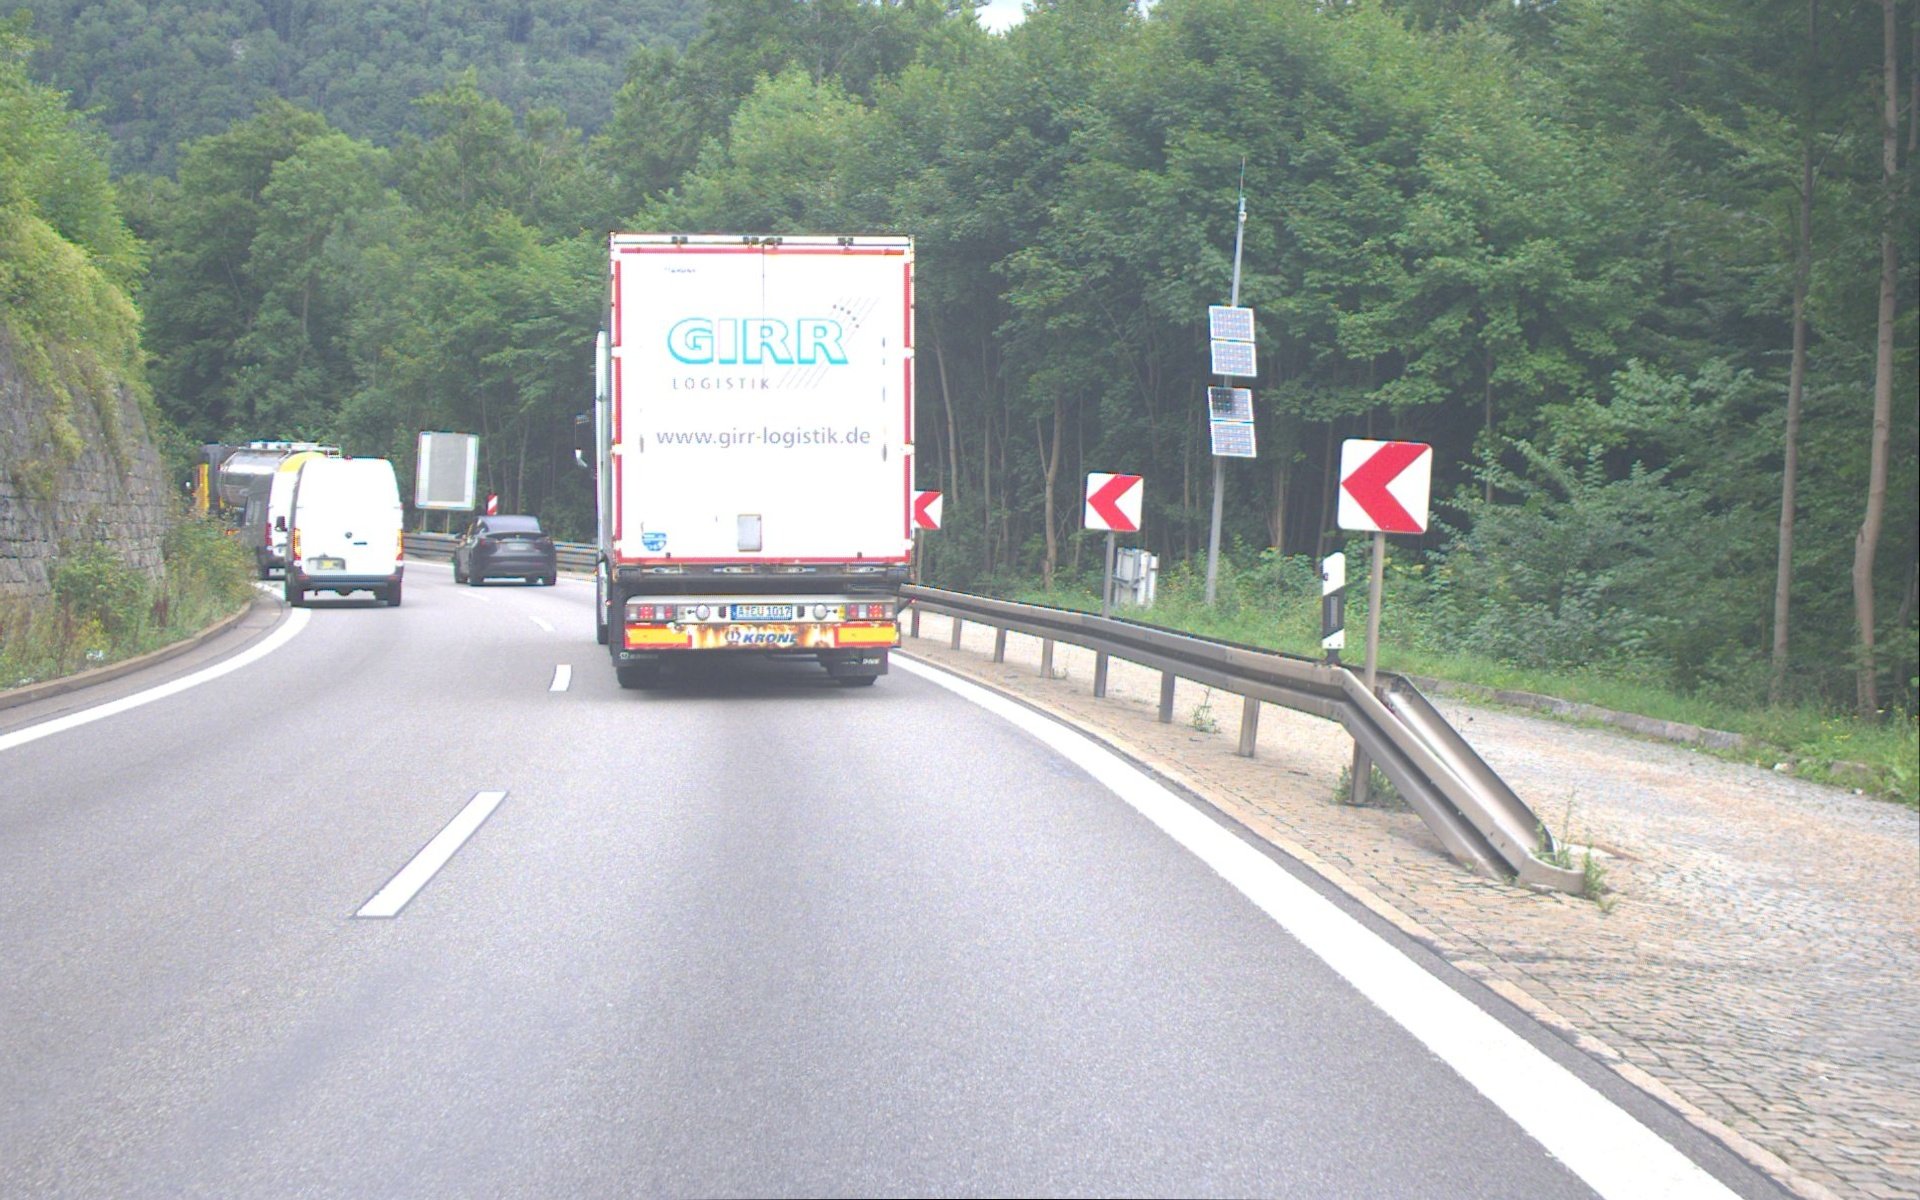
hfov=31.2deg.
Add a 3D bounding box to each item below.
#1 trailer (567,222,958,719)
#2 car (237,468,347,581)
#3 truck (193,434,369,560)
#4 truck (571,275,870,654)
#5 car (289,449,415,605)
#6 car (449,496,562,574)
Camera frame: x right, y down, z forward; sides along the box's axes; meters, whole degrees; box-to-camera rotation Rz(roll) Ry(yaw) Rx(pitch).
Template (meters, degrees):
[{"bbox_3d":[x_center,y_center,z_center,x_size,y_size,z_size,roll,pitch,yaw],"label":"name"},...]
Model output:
[{"bbox_3d":[-2.285,-1.348,34.615,3.057,3.972,12.140,3,2,-6],"label":"trailer"},{"bbox_3d":[-16.842,-1.924,86.438,1.939,2.663,5.993,2,1,-18],"label":"car"},{"bbox_3d":[-22.868,-3.505,115.004,3.057,3.972,13.702,-1,2,-23],"label":"truck"},{"bbox_3d":[-2.989,-1.628,40.986,3.057,3.972,7.189,3,2,-6],"label":"truck"},{"bbox_3d":[-11.363,-1.385,63.930,1.988,2.663,6.938,2,1,-12],"label":"car"},{"bbox_3d":[-10.369,-1.493,78.201,1.993,1.656,4.002,2,1,-15],"label":"car"}]
